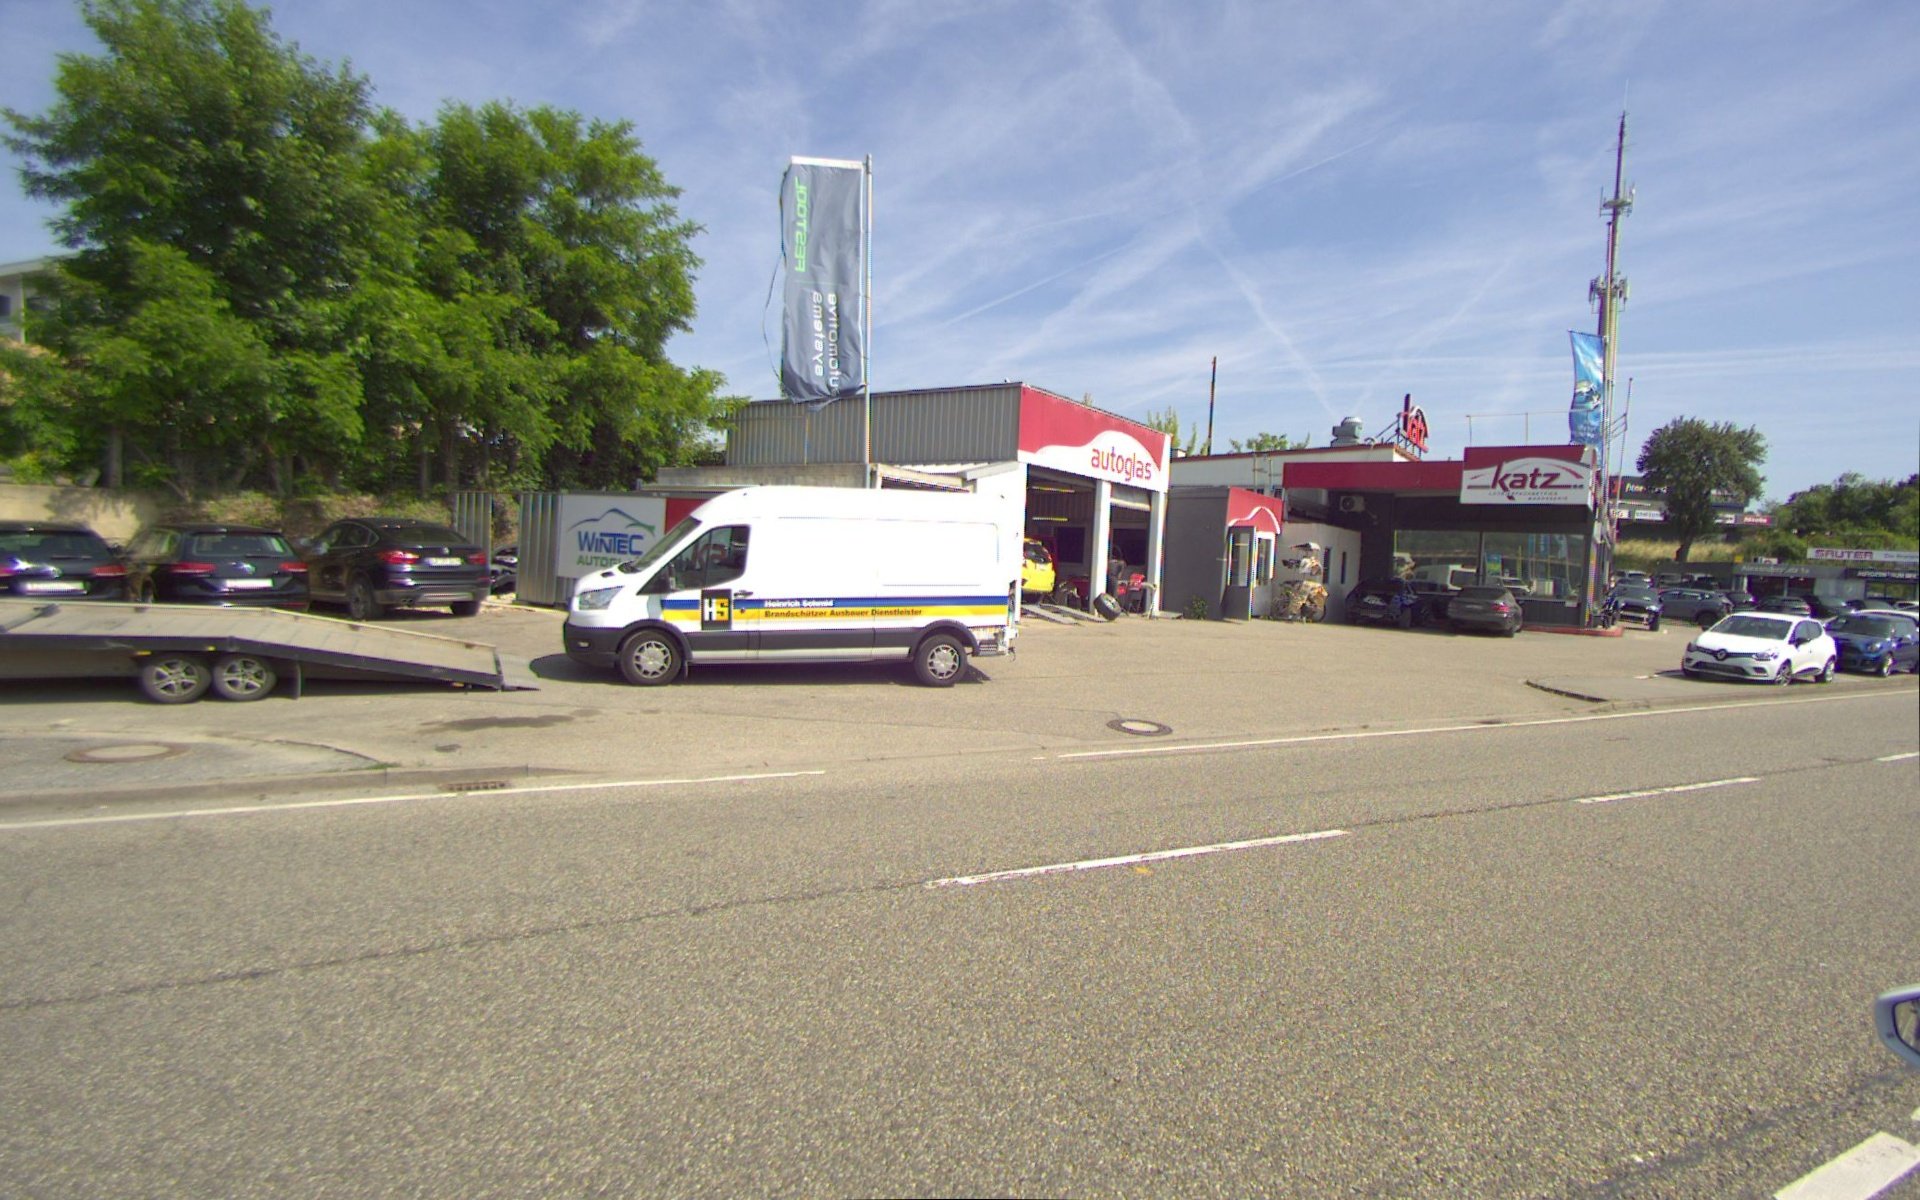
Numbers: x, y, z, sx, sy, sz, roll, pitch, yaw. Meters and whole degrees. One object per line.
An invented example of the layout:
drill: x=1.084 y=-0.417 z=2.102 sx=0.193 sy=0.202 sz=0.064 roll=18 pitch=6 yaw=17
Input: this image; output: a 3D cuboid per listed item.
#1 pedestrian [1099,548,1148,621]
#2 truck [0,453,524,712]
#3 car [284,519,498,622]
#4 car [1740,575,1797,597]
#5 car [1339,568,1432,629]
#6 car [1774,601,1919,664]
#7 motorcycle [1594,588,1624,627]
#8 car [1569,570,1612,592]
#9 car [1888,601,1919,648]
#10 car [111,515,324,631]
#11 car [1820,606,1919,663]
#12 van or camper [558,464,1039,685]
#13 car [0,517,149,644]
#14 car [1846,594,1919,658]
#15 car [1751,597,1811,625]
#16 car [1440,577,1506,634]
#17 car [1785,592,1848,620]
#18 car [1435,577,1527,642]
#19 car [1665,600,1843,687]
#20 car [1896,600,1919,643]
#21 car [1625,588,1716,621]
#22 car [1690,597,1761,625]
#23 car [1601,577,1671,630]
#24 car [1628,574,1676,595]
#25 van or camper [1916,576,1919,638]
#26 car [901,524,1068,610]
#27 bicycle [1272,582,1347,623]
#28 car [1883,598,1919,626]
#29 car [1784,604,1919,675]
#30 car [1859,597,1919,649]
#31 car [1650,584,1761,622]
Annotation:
pedestrian: x=4.115 y=-0.388 z=25.243 sx=0.884 sy=1.786 sz=0.719 roll=2 pitch=2 yaw=-30
truck: x=-9.213 y=-0.266 z=10.113 sx=8.691 sy=2.328 sz=2.321 roll=1 pitch=6 yaw=-28
car: x=-9.623 y=-0.529 z=16.924 sx=3.610 sy=1.550 sz=1.734 roll=3 pitch=2 yaw=35
car: x=57.166 y=-0.988 z=71.128 sx=1.701 sy=1.470 sz=3.750 roll=3 pitch=2 yaw=15
car: x=13.085 y=-0.106 z=30.797 sx=1.828 sy=1.525 sz=3.988 roll=7 pitch=6 yaw=33
car: x=25.282 y=0.876 z=27.896 sx=1.828 sy=1.546 sz=3.770 roll=1 pitch=2 yaw=-35
motorcycle: x=22.582 y=0.257 z=34.930 sx=0.760 sy=1.278 sz=2.048 roll=2 pitch=1 yaw=36
car: x=48.344 y=-1.461 z=77.059 sx=1.701 sy=1.558 sz=3.750 roll=3 pitch=2 yaw=15
car: x=34.002 y=1.023 z=33.363 sx=1.780 sy=1.505 sz=4.270 roll=1 pitch=6 yaw=-35
car: x=-10.905 y=-0.432 z=14.680 sx=3.616 sy=1.489 sz=1.731 roll=4 pitch=2 yaw=40
car: x=27.598 y=0.998 z=29.145 sx=1.774 sy=1.546 sz=3.683 roll=1 pitch=1 yaw=-35
van or camper: x=-2.120 y=-0.304 z=13.421 sx=5.858 sy=2.533 sz=2.151 roll=2 pitch=5 yaw=-19
car: x=-12.326 y=-0.316 z=13.377 sx=3.616 sy=1.489 sz=1.731 roll=4 pitch=2 yaw=40
car: x=29.664 y=0.890 z=30.368 sx=1.788 sy=1.740 sz=3.859 roll=1 pitch=6 yaw=-35
car: x=49.252 y=0.630 z=60.354 sx=1.735 sy=1.609 sz=3.827 roll=2 pitch=1 yaw=23
car: x=18.195 y=0.152 z=35.550 sx=1.675 sy=1.782 sz=3.752 roll=7 pitch=4 yaw=31
car: x=51.473 y=0.330 z=60.418 sx=1.735 sy=1.609 sz=3.827 roll=2 pitch=1 yaw=23
car: x=15.432 y=0.210 z=29.653 sx=1.828 sy=1.525 sz=4.381 roll=6 pitch=6 yaw=34
car: x=17.264 y=0.900 z=21.806 sx=3.956 sy=1.640 sz=1.769 roll=1 pitch=2 yaw=-32
car: x=36.063 y=0.970 z=35.182 sx=1.754 sy=1.505 sz=4.428 roll=1 pitch=6 yaw=-35
car: x=37.283 y=0.206 z=52.835 sx=3.764 sy=1.609 sz=1.764 roll=2 pitch=1 yaw=34
car: x=47.251 y=0.649 z=62.101 sx=1.733 sy=1.609 sz=3.831 roll=2 pitch=1 yaw=6
car: x=25.582 y=0.151 z=38.131 sx=1.796 sy=1.696 sz=4.118 roll=9 pitch=4 yaw=31
car: x=52.056 y=-1.177 z=75.640 sx=1.701 sy=1.470 sz=3.750 roll=3 pitch=2 yaw=15
van or camper: x=47.395 y=0.453 z=45.251 sx=2.265 sy=2.912 sz=5.856 roll=0 pitch=2 yaw=-33
car: x=0.569 y=-0.834 z=24.395 sx=3.611 sy=1.748 sz=1.734 roll=7 pitch=4 yaw=35
bicycle: x=10.275 y=0.059 z=29.606 sx=1.966 sy=0.984 sz=0.413 roll=9 pitch=5 yaw=36
car: x=55.913 y=0.698 z=58.610 sx=1.735 sy=1.609 sz=3.827 roll=2 pitch=1 yaw=23
car: x=22.996 y=0.975 z=25.686 sx=3.740 sy=1.514 sz=1.769 roll=1 pitch=6 yaw=-32
car: x=31.758 y=0.890 z=31.988 sx=1.818 sy=1.505 sz=4.248 roll=1 pitch=6 yaw=-35
car: x=33.578 y=0.134 z=45.368 sx=3.883 sy=1.553 sz=1.764 roll=2 pitch=1 yaw=34
